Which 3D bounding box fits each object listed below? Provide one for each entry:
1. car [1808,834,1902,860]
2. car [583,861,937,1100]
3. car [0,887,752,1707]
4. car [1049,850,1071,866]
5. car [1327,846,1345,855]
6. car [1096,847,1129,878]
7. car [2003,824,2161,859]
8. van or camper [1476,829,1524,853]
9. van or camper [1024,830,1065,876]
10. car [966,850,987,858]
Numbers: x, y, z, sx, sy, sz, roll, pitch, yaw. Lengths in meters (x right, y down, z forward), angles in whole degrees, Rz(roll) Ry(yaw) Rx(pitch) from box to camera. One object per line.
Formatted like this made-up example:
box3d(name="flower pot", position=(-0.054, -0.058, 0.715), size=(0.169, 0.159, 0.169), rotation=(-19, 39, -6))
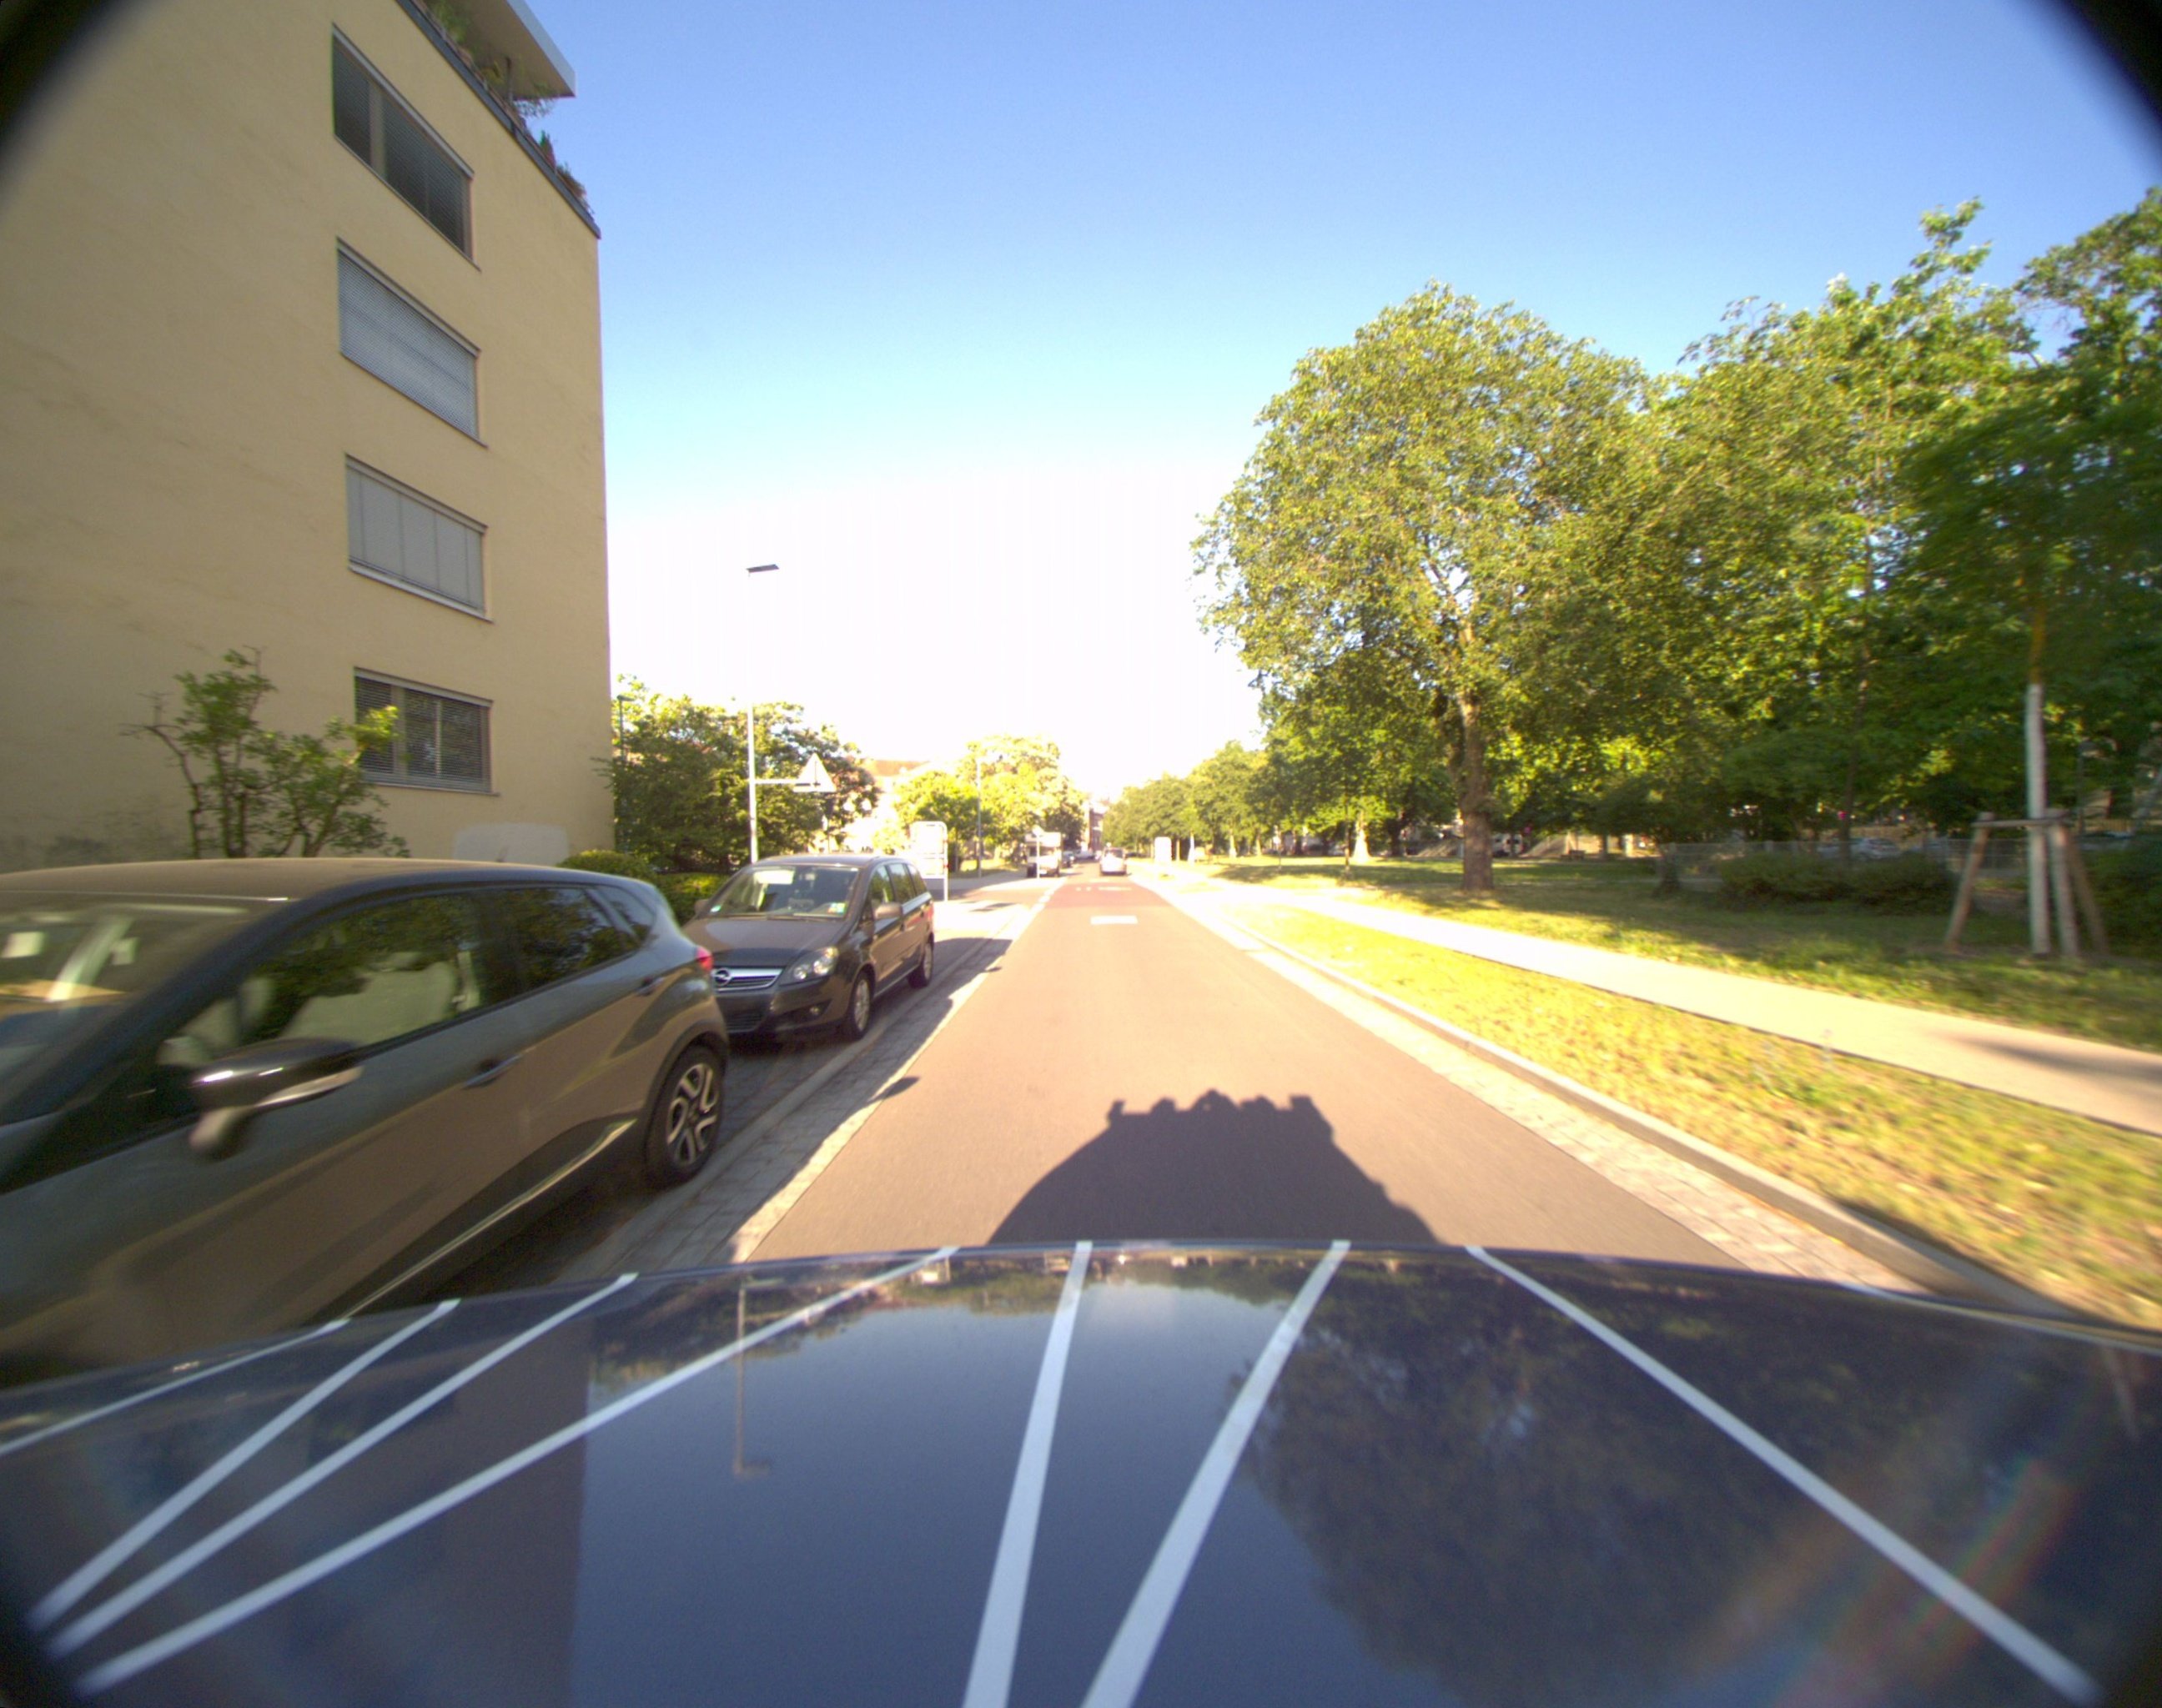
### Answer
box3d(name="car", position=(43.114, -0.395, 42.424), size=(1.526, 1.360, 3.649), rotation=(-2, 0, 0))
box3d(name="car", position=(-2.649, 0.915, 7.426), size=(1.714, 1.601, 4.168), rotation=(1, 0, 0))
box3d(name="car", position=(-2.678, 0.977, 2.126), size=(1.683, 1.546, 4.144), rotation=(0, 1, 0))
box3d(name="car", position=(-1.993, 0.366, 73.161), size=(1.998, 1.501, 4.000), rotation=(-2, 0, 0))
box3d(name="car", position=(44.523, -0.594, 132.584), size=(1.796, 1.455, 3.999), rotation=(-2, 0, 0))
box3d(name="car", position=(1.999, 0.507, 49.518), size=(1.849, 1.837, 4.571), rotation=(0, 1, -1))
box3d(name="car", position=(42.734, -0.502, 32.554), size=(1.526, 1.360, 4.108), rotation=(-2, 0, 0))
box3d(name="van or camper", position=(43.650, -1.339, 79.342), size=(1.999, 2.425, 5.466), rotation=(-1, 0, -1))
box3d(name="van or camper", position=(-2.284, -0.094, 49.144), size=(2.427, 2.767, 5.951), rotation=(1, 1, 0))
box3d(name="car", position=(-20.489, 0.045, 148.670), size=(3.707, 1.490, 1.724), rotation=(-2, 1, -17))
